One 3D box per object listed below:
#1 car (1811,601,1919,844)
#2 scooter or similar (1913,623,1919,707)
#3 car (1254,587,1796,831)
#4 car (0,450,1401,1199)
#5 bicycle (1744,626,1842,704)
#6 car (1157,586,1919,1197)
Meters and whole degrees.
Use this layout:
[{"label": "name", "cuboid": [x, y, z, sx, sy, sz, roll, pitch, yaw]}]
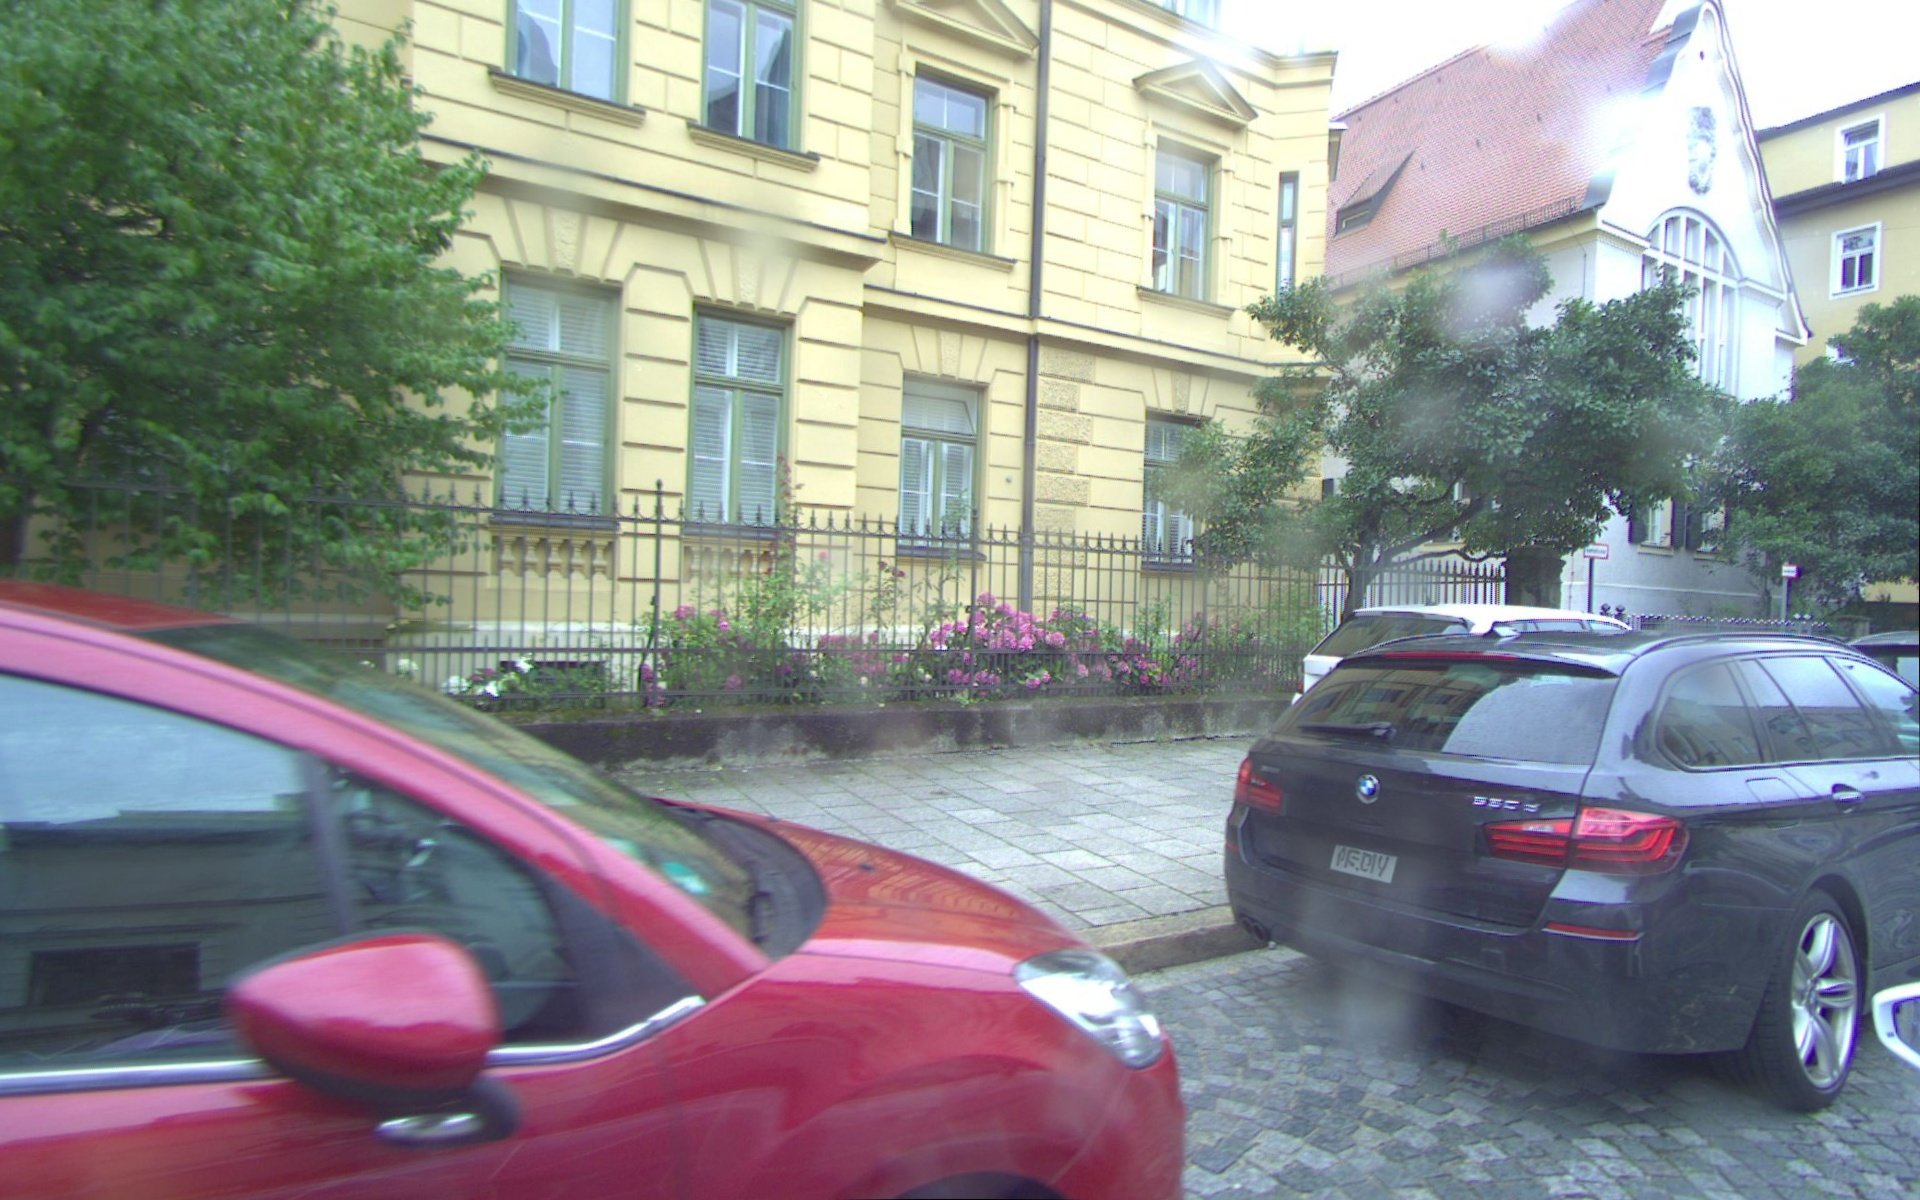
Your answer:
[{"label": "car", "cuboid": [8.245, 0.868, 7.531, 4.147, 1.607, 1.730, 2, -1, -33]}, {"label": "scooter or similar", "cuboid": [19.000, 1.227, 18.726, 2.603, 1.543, 1.057, 2, 0, -30]}, {"label": "car", "cuboid": [4.657, 0.734, 8.158, 4.337, 1.485, 1.833, 2, 1, -30]}, {"label": "car", "cuboid": [-1.424, 0.675, 1.572, 4.144, 1.607, 1.832, 2, -1, -31]}, {"label": "bicycle", "cuboid": [14.493, 1.110, 17.466, 2.036, 1.275, 0.603, 2, 1, -30]}, {"label": "car", "cuboid": [3.440, 0.788, 4.585, 5.076, 1.489, 1.860, 2, -1, -31]}]
